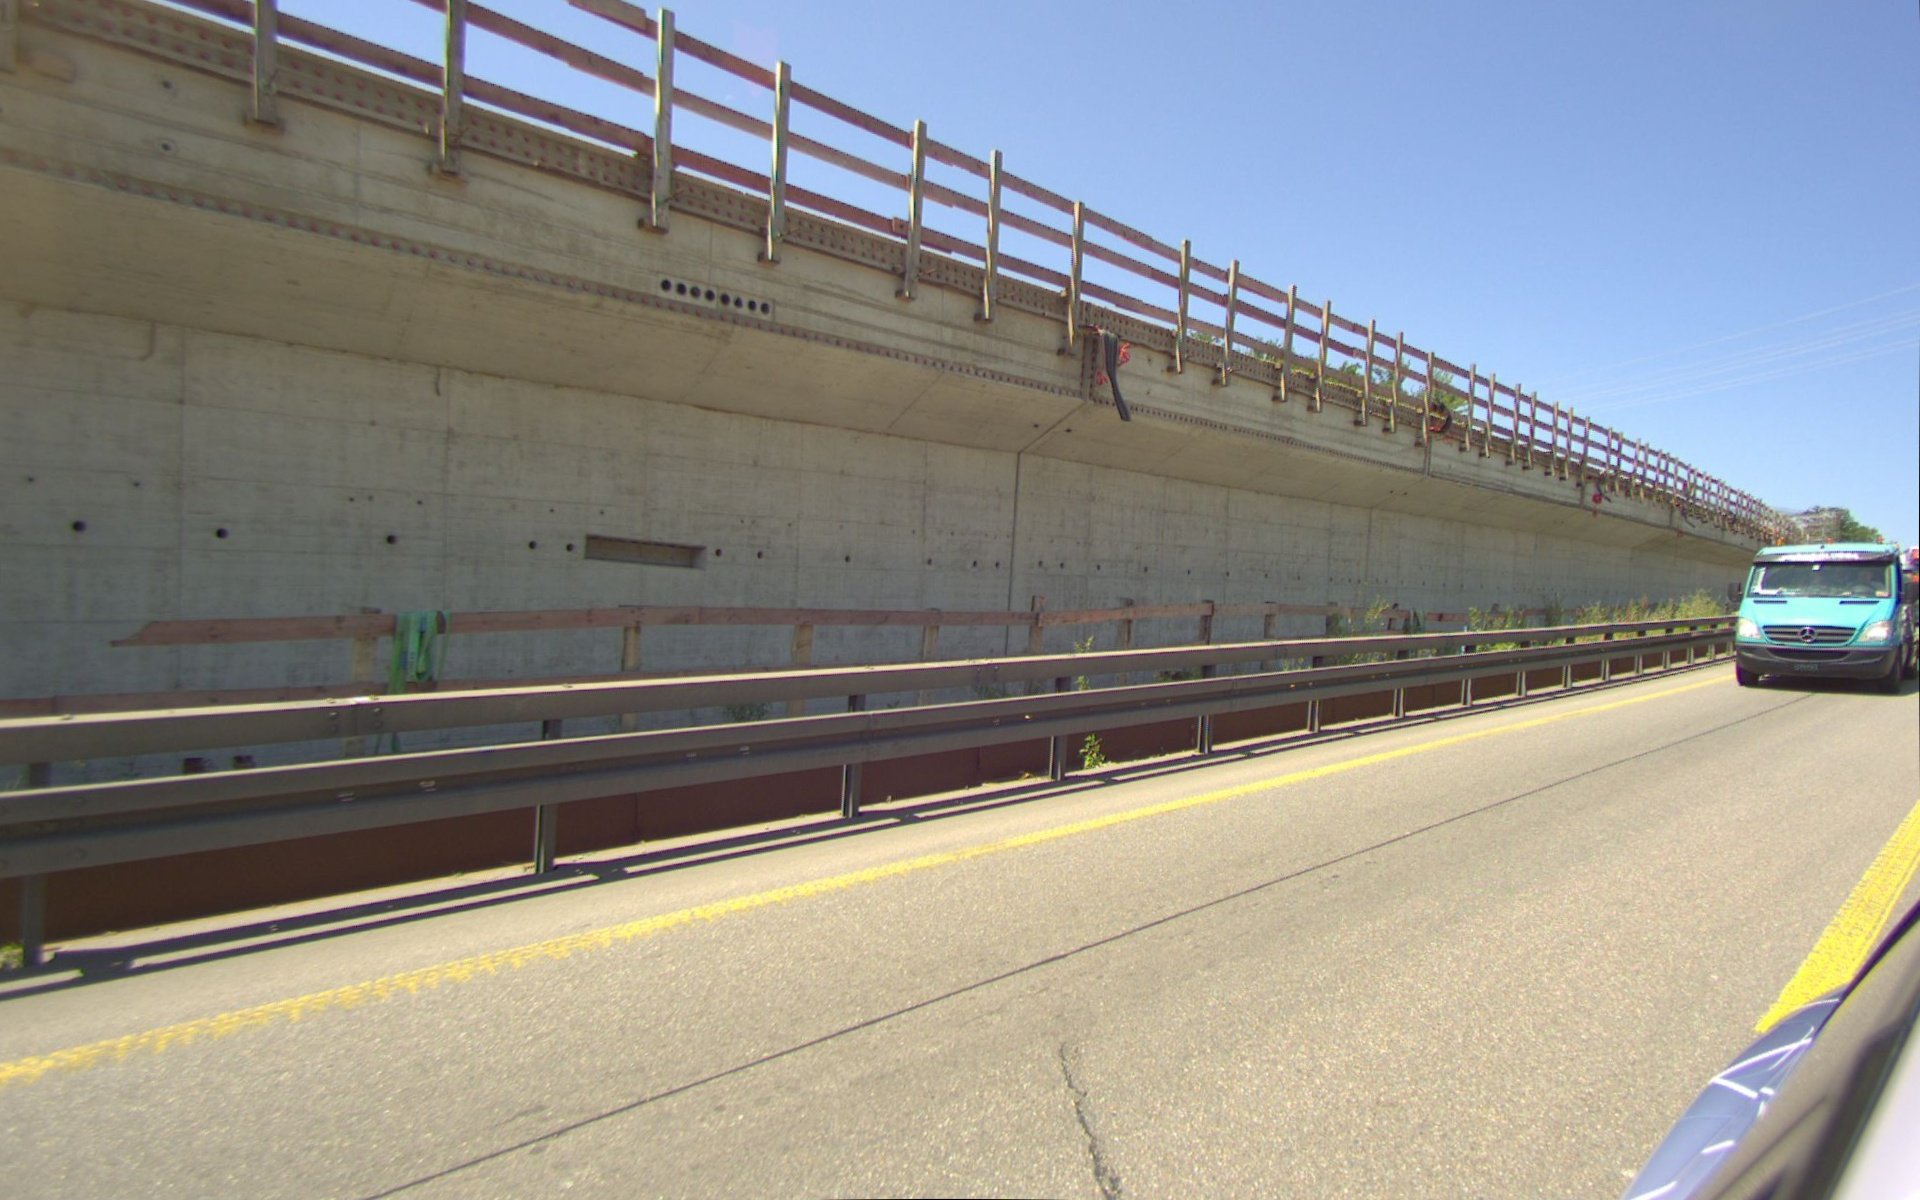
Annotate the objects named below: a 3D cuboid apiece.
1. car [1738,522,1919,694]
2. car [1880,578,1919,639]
[{"bbox_3d":[15.335,0.061,17.325,7.087,2.410,1.966,-1,1,-42],"label":"car"},{"bbox_3d":[28.415,0.205,29.664,3.934,1.681,1.856,-1,0,-43],"label":"car"}]
